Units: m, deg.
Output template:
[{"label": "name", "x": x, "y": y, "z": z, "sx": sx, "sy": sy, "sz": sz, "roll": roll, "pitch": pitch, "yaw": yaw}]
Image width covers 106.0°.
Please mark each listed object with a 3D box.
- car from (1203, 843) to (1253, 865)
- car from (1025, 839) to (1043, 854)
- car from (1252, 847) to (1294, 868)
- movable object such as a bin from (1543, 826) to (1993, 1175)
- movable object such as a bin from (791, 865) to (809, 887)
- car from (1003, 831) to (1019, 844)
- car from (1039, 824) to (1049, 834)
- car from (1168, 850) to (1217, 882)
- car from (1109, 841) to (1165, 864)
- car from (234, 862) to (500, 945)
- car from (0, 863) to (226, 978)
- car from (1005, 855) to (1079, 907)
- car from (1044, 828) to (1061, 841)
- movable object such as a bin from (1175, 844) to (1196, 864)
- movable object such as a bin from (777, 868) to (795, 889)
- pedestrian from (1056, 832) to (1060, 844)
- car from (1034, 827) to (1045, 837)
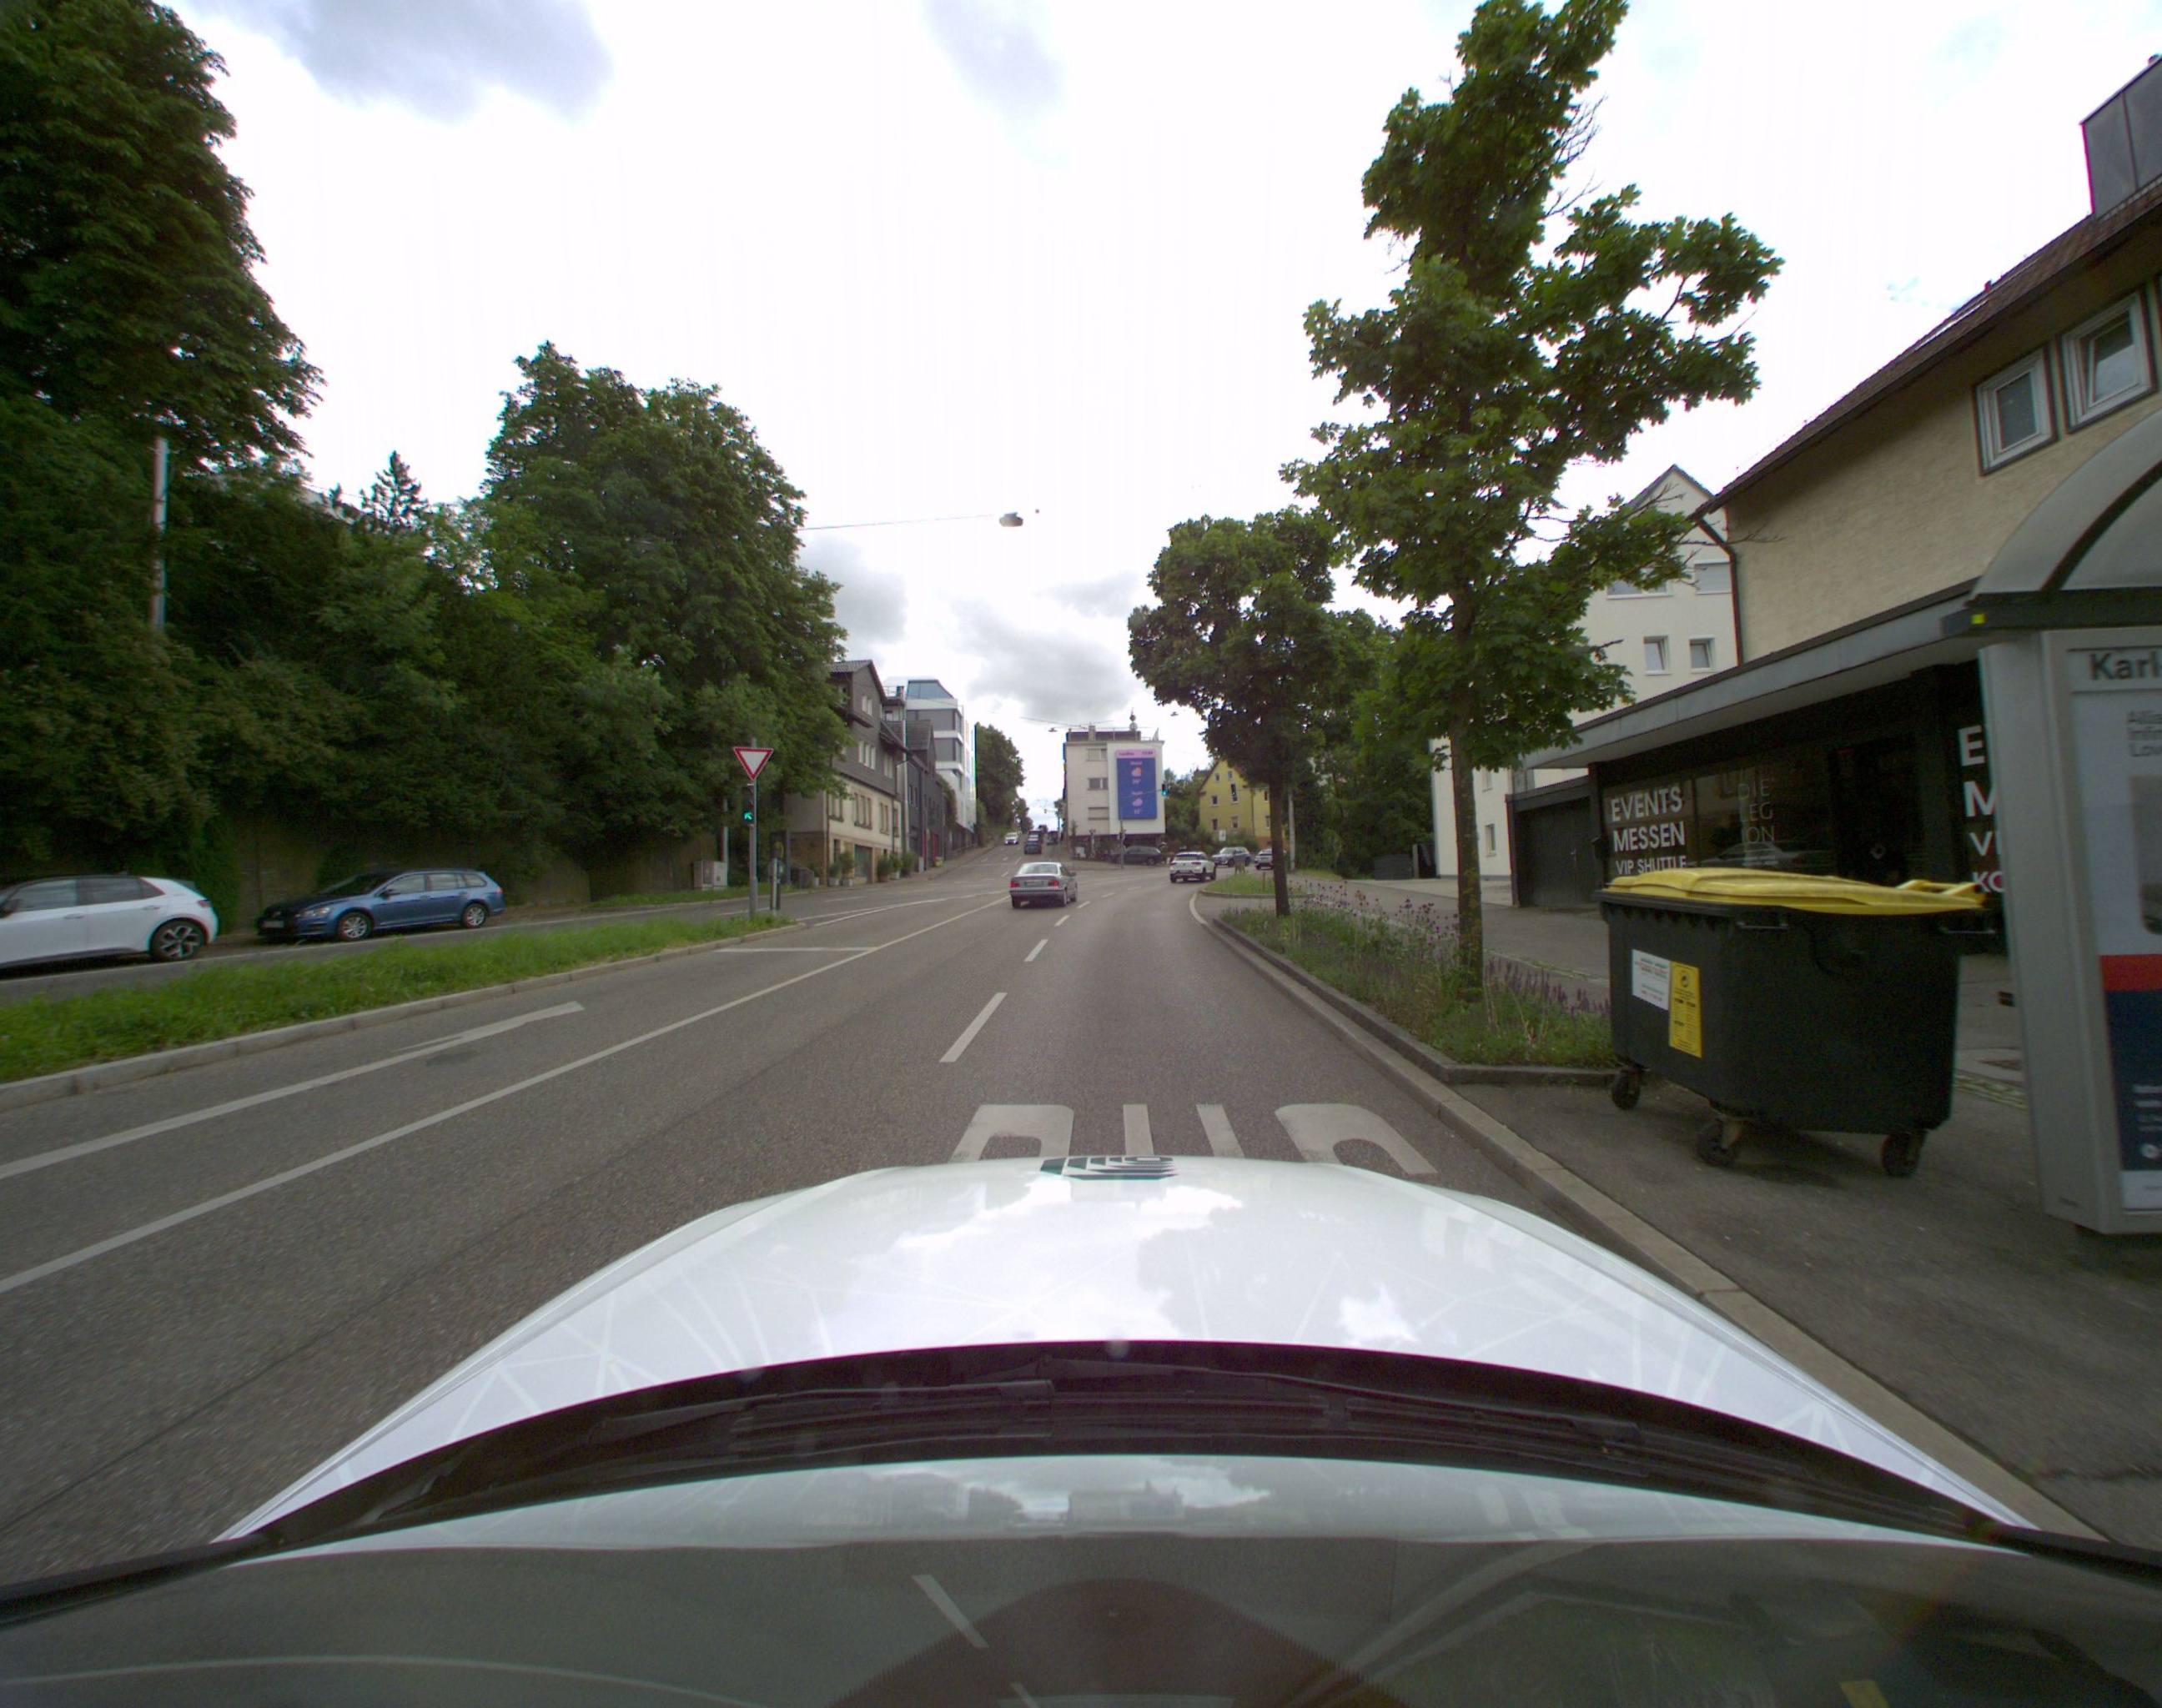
[{"label": "car", "x": 12.070, "y": -0.019, "z": 66.647, "sx": 1.878, "sy": 1.695, "sz": 4.374, "roll": -2, "pitch": -1, "yaw": 43}, {"label": "car", "x": -4.903, "y": -0.805, "z": 85.734, "sx": 1.775, "sy": 1.579, "sz": 3.998, "roll": -1, "pitch": 0, "yaw": -1}, {"label": "car", "x": 13.646, "y": 0.262, "z": 57.757, "sx": 1.763, "sy": 1.409, "sz": 4.025, "roll": 0, "pitch": 1, "yaw": 31}, {"label": "movable object such as a bin", "x": 3.371, "y": 0.630, "z": 4.258, "sx": 1.081, "sy": 1.481, "sz": 1.538, "roll": -1, "pitch": 0, "yaw": 3}, {"label": "movable object such as a bin", "x": -13.599, "y": 1.067, "z": 39.462, "sx": 0.534, "sy": 1.019, "sz": 0.649, "roll": -2, "pitch": -2, "yaw": 16}, {"label": "car", "x": -9.422, "y": -2.278, "z": 109.706, "sx": 1.877, "sy": 1.567, "sz": 4.387, "roll": -2, "pitch": 3, "yaw": -2}, {"label": "car", "x": -7.755, "y": -5.253, "z": 169.756, "sx": 1.988, "sy": 2.013, "sz": 3.998, "roll": -1, "pitch": 0, "yaw": -1}, {"label": "car", "x": 5.930, "y": 0.593, "z": 43.089, "sx": 1.765, "sy": 1.579, "sz": 4.020, "roll": -2, "pitch": 0, "yaw": 19}, {"label": "car", "x": 4.926, "y": -0.141, "z": 71.692, "sx": 4.675, "sy": 1.712, "sz": 2.318, "roll": 3, "pitch": 3, "yaw": -2}, {"label": "car", "x": -15.652, "y": 1.000, "z": 18.216, "sx": 1.701, "sy": 1.528, "sz": 4.314, "roll": -1, "pitch": 0, "yaw": 11}, {"label": "car", "x": -16.598, "y": 1.004, "z": 12.741, "sx": 1.770, "sy": 1.629, "sz": 4.179, "roll": -1, "pitch": 0, "yaw": 7}, {"label": "car", "x": -1.159, "y": 0.792, "z": 25.756, "sx": 1.697, "sy": 1.464, "sz": 4.007, "roll": -1, "pitch": 0, "yaw": 6}, {"label": "car", "x": -3.698, "y": -2.526, "z": 106.683, "sx": 2.083, "sy": 1.613, "sz": 3.999, "roll": -1, "pitch": 0, "yaw": 0}, {"label": "movable object such as a bin", "x": 9.918, "y": -0.020, "z": 77.089, "sx": 1.751, "sy": 1.779, "sz": 1.861, "roll": -2, "pitch": 0, "yaw": 12}, {"label": "movable object such as a bin", "x": -14.367, "y": 1.197, "z": 39.685, "sx": 0.573, "sy": 1.019, "sz": 0.649, "roll": -2, "pitch": -2, "yaw": 16}, {"label": "pedestrian", "x": -2.985, "y": -2.112, "z": 104.979, "sx": 0.456, "sy": 1.529, "sz": 0.527, "roll": -1, "pitch": -1, "yaw": 0}, {"label": "car", "x": -7.218, "y": -3.859, "z": 142.819, "sx": 1.775, "sy": 1.579, "sz": 3.998, "roll": -1, "pitch": 1, "yaw": -1}]
